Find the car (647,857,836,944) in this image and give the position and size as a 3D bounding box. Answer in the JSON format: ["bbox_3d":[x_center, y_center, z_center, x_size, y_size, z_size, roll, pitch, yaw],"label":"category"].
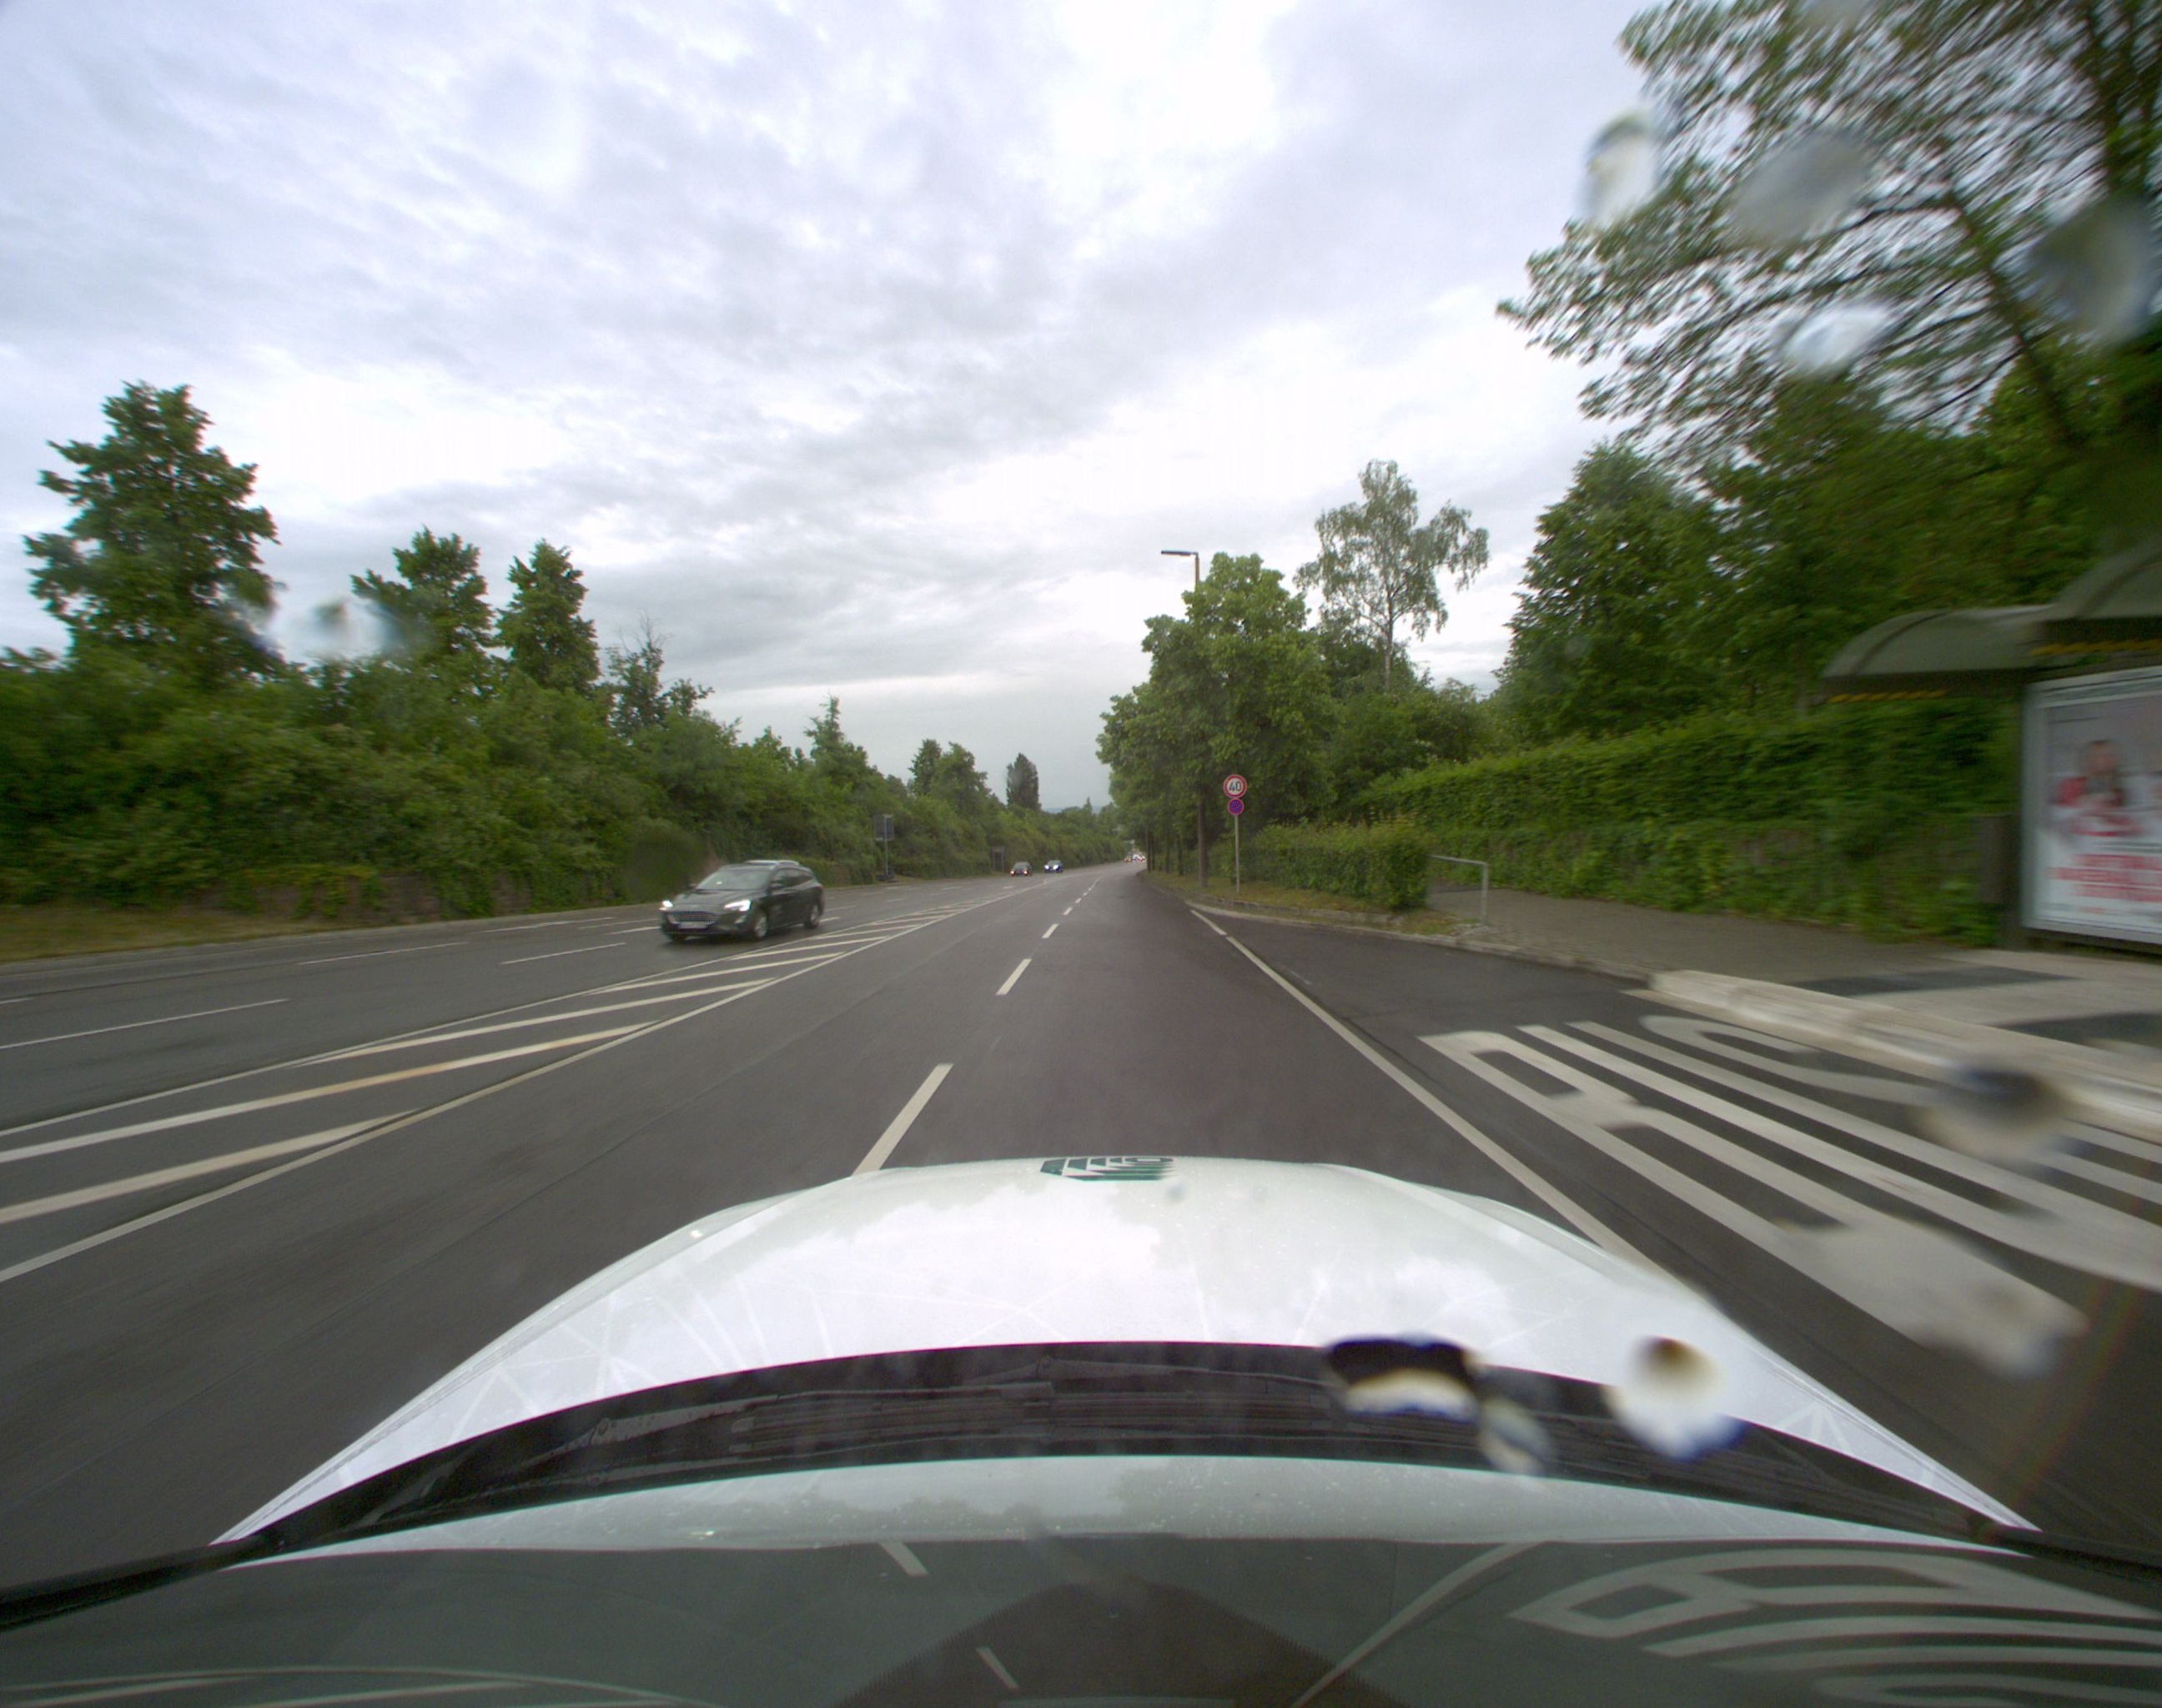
[{"bbox_3d":[-6.862,0.858,17.087,1.771,1.472,4.649,-1,0,3],"label":"car"}]

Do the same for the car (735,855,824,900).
[{"bbox_3d":[-11.861,0.881,32.320,1.716,1.591,4.005,-2,0,4],"label":"car"}]

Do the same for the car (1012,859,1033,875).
[{"bbox_3d":[-5.972,1.350,83.710,1.718,1.565,3.895,0,0,3],"label":"car"}]

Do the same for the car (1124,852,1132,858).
[{"bbox_3d":[12.520,0.226,216.808,1.855,1.464,3.898,0,0,5],"label":"car"}]

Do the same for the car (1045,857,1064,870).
[{"bbox_3d":[-3.386,1.250,104.550,1.855,1.589,3.898,0,0,5],"label":"car"}]
